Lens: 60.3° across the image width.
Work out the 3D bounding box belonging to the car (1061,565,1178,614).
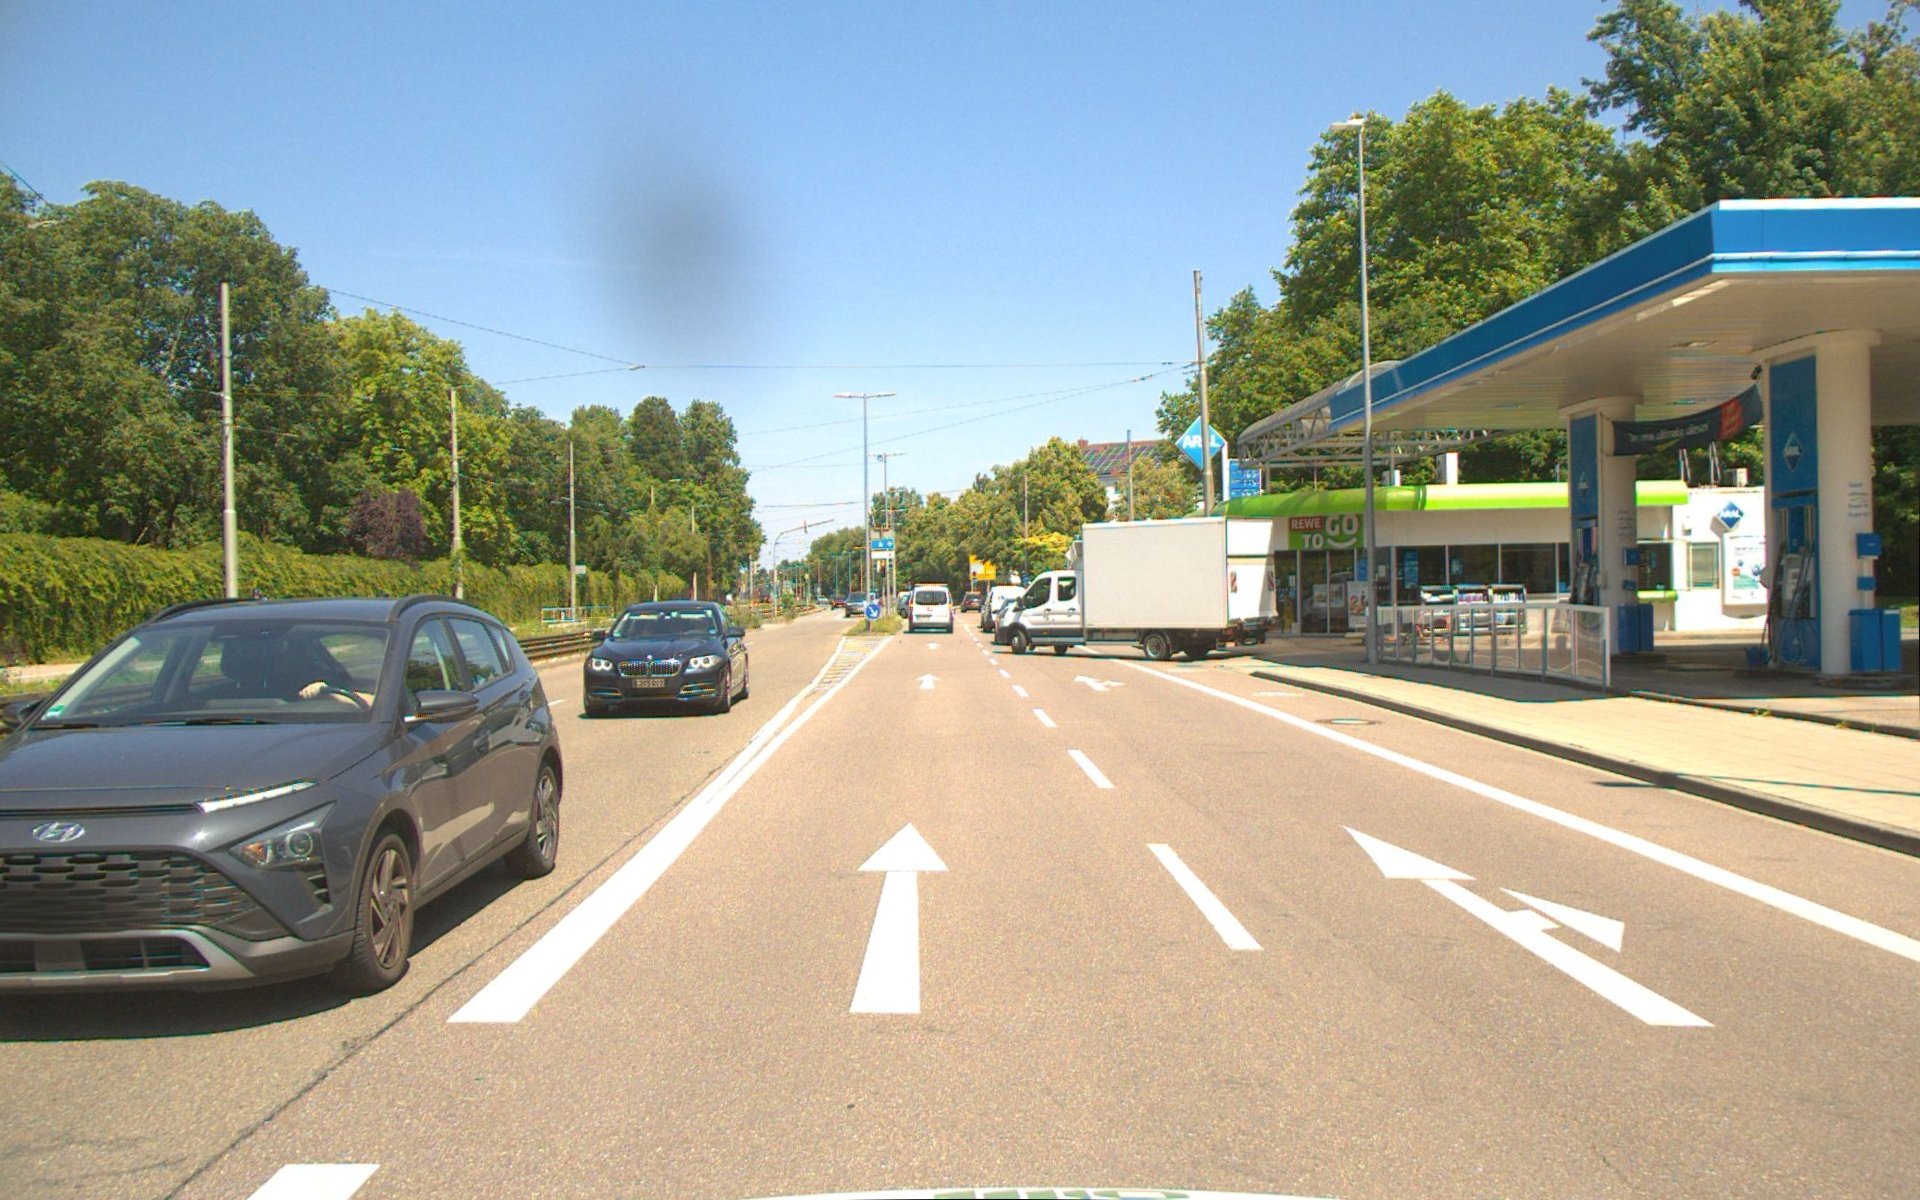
[{"bbox_3d":[8.776,-0.563,90.617,6.068,2.560,2.707,-1,0,12],"label":"car"}]

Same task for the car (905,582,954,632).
[{"bbox_3d":[-1.210,0.246,64.618,1.829,1.868,3.847,-1,0,-2],"label":"car"}]

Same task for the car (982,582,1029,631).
[{"bbox_3d":[1.770,0.243,65.677,1.675,1.862,4.013,-1,0,-1],"label":"car"}]

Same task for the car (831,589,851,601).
[{"bbox_3d":[-13.369,-0.566,185.791,1.943,1.382,4.538,-1,0,0],"label":"car"}]

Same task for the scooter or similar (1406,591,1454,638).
[{"bbox_3d":[12.125,0.365,42.640,1.112,1.197,0.384,-1,0,-1],"label":"scooter or similar"}]

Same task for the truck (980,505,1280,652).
[{"bbox_3d":[4.187,-0.480,42.300,7.694,3.451,2.413,-1,0,42],"label":"truck"}]

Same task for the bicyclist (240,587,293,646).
[{"bbox_3d":[-18.211,0.419,43.450,0.974,1.512,1.000,-1,0,-1],"label":"bicyclist"}]

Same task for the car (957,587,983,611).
[{"bbox_3d":[0.791,-0.082,132.674,1.953,1.892,3.999,-1,0,-1],"label":"car"}]

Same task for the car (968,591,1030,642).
[{"bbox_3d":[1.152,0.476,50.671,1.735,1.445,3.999,-1,0,-1],"label":"car"}]

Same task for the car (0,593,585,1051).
[{"bbox_3d":[-2.964,0.709,7.380,1.678,1.447,4.141,-1,0,-1],"label":"car"}]

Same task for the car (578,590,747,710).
[{"bbox_3d":[-3.930,0.597,22.488,1.758,1.424,4.444,-1,0,-4],"label":"car"}]

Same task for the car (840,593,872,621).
[{"bbox_3d":[-7.203,0.447,114.279,1.956,1.861,4.533,-1,0,-7],"label":"car"}]

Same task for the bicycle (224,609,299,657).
[{"bbox_3d":[-18.207,0.843,43.184,0.811,1.176,2.685,-1,0,-1],"label":"bicycle"}]

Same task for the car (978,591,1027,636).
[{"bbox_3d":[1.417,0.432,56.605,1.574,1.477,3.520,0,0,0],"label":"car"}]
